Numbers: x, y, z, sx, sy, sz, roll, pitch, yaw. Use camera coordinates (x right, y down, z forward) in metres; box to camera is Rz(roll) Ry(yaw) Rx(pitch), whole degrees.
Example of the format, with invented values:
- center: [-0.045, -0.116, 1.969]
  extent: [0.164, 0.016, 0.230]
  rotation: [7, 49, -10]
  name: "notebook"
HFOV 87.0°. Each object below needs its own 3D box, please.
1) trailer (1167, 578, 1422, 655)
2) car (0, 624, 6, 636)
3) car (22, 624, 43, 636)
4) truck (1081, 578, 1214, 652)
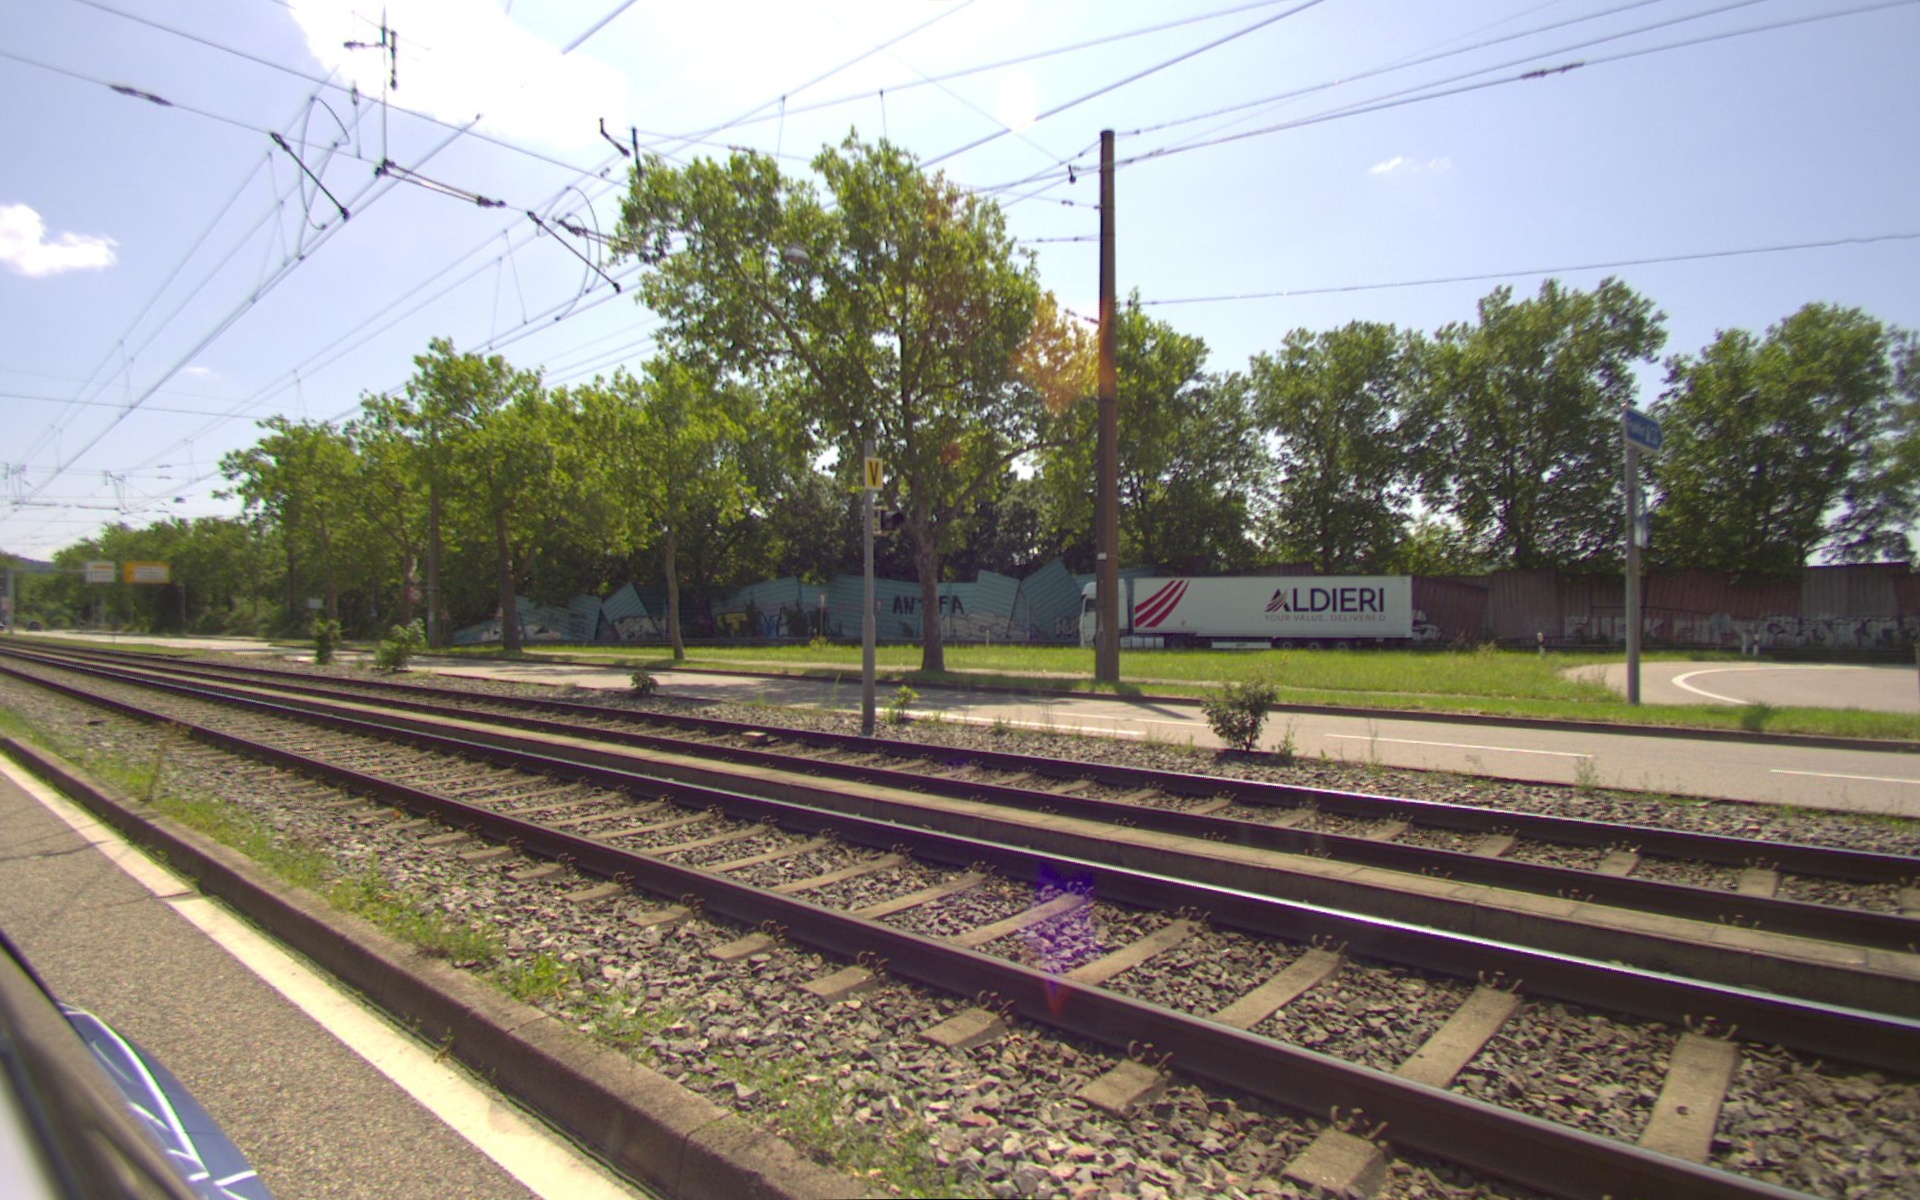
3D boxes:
- center: [16.821, 0.878, 51.850]
  extent: [12.001, 3.683, 3.371]
  rotation: [-1, -2, 16]
  name: "trailer"
- center: [-154.650, 4.805, 162.269]
  extent: [3.998, 1.807, 1.973]
  rotation: [-1, 0, 41]
  name: "car"
- center: [-144.060, 4.650, 157.234]
  extent: [3.998, 1.807, 1.973]
  rotation: [-1, 0, 41]
  name: "car"
- center: [9.996, 0.823, 53.792]
  extent: [6.698, 3.730, 3.401]
  rotation: [-1, -2, 16]
  name: "truck"
